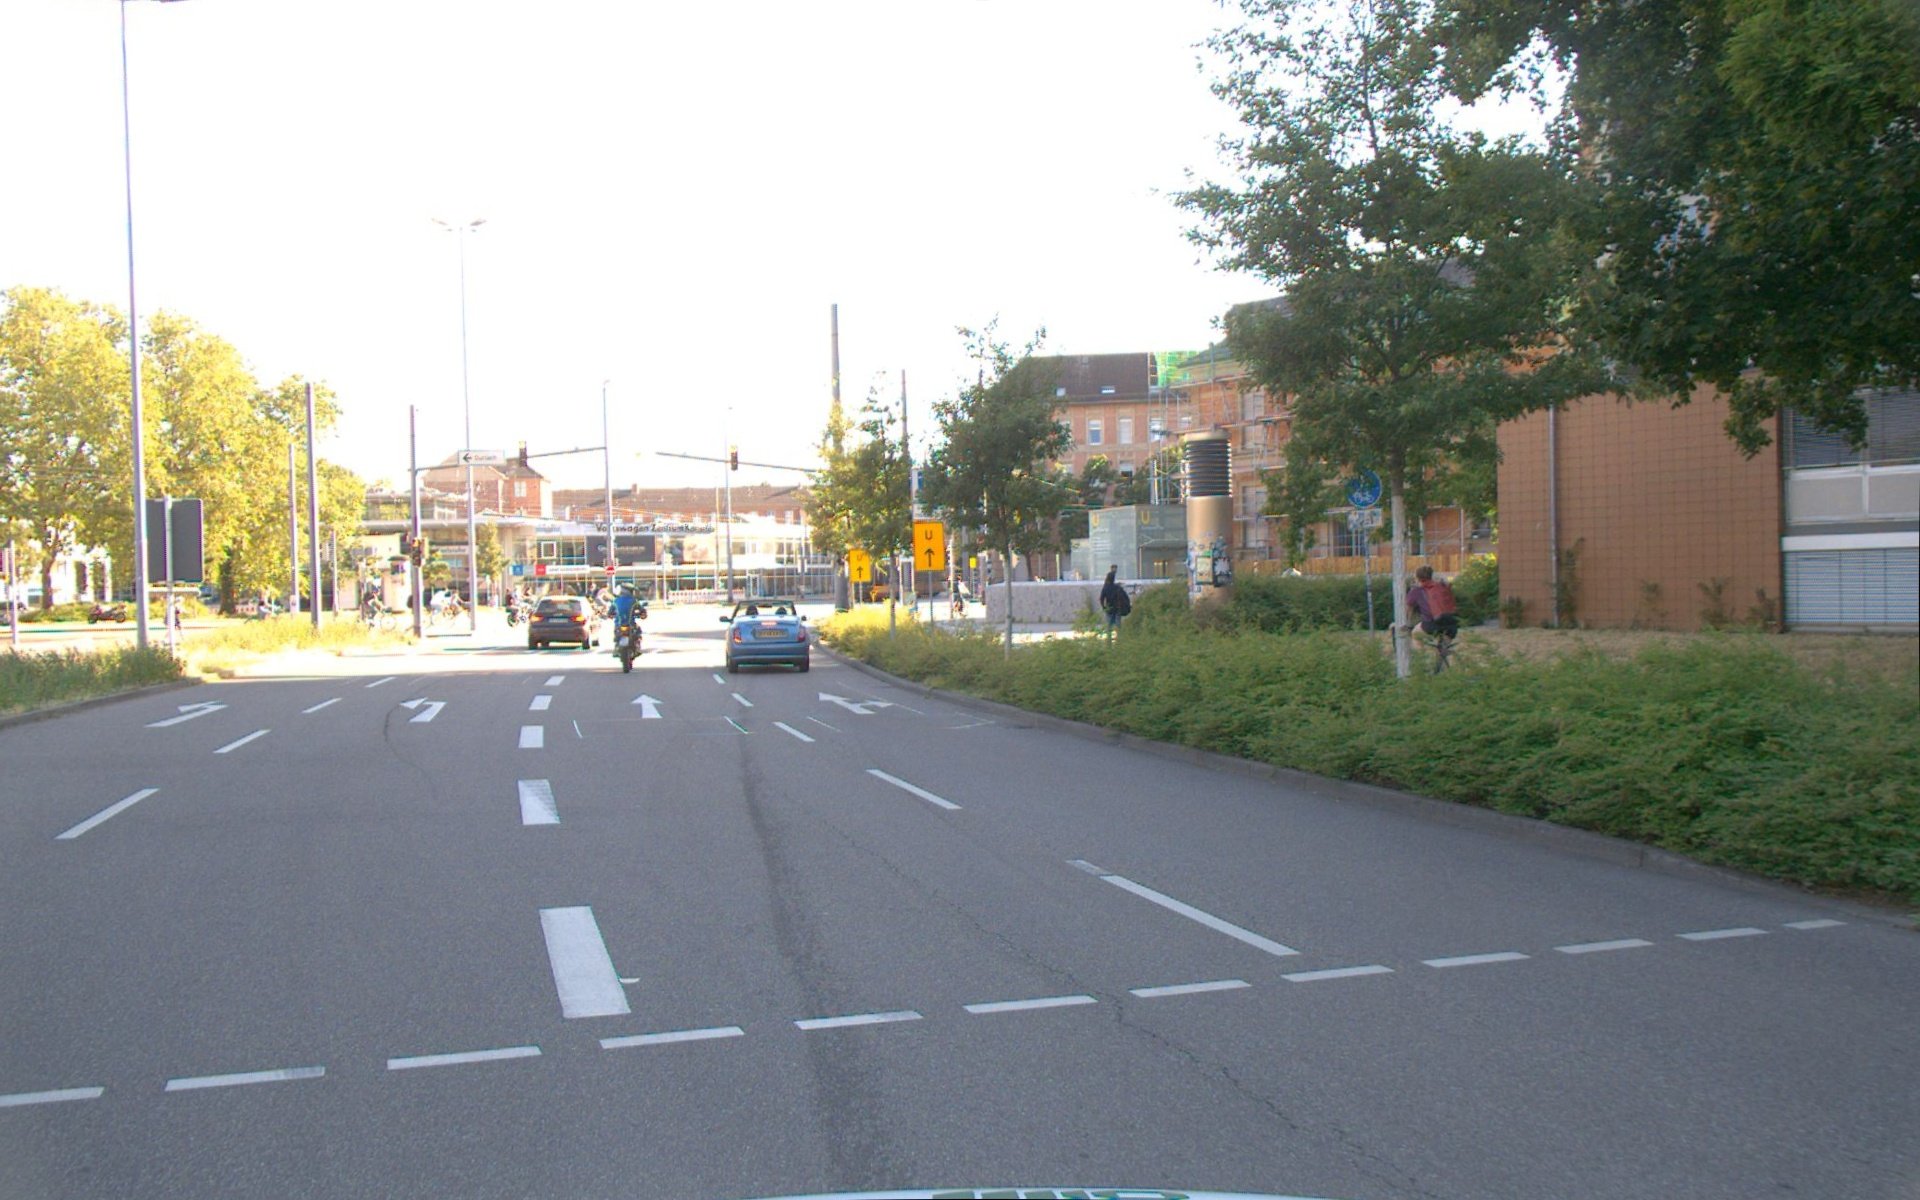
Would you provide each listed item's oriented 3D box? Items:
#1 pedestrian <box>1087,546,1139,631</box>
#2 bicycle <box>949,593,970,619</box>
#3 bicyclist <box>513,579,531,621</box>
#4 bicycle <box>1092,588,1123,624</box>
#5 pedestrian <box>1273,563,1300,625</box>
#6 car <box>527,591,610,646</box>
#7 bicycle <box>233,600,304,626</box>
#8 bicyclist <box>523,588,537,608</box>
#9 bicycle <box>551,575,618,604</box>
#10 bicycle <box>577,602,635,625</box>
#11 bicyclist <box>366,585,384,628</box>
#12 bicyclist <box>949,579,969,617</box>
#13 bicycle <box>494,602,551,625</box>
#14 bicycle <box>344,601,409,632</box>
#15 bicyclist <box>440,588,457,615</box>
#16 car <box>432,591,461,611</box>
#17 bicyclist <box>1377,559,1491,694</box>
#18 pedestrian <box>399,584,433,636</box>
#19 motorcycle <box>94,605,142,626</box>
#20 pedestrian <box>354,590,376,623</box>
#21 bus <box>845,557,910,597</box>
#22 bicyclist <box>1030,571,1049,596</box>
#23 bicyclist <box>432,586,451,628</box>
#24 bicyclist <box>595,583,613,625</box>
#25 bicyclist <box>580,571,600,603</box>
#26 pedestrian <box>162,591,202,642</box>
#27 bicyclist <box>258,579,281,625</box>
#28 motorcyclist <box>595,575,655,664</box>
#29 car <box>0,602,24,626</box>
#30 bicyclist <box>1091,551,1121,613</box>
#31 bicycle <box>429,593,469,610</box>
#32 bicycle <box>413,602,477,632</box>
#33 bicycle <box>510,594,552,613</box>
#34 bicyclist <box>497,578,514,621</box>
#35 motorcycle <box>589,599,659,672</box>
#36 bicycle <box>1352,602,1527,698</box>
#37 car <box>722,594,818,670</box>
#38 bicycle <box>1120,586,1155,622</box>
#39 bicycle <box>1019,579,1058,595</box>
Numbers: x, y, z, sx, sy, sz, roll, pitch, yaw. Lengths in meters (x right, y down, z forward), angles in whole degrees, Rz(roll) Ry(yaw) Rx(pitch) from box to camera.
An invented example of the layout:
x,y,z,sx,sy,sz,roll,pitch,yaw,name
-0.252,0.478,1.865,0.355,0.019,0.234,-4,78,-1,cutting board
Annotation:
x,y,z,sx,sy,sz,roll,pitch,yaw,name
3.161,-0.245,34.199,0.793,1.687,0.787,-3,1,-16,pedestrian
-0.020,0.258,71.925,0.773,1.057,1.963,-3,0,2,bicycle
-18.574,-0.004,70.095,0.640,1.720,0.855,-1,2,-22,bicyclist
4.477,0.179,50.282,0.773,1.057,1.963,-3,0,2,bicycle
9.094,-0.164,46.063,0.708,1.688,0.719,1,0,13,pedestrian
-10.943,0.495,46.437,1.766,1.469,3.973,0,0,-6,car
-26.562,0.485,63.556,2.464,0.889,0.852,-1,2,-28,bicycle
-25.490,-0.120,98.100,0.703,1.162,0.832,-1,2,-23,bicyclist
-23.383,-0.685,103.065,3.936,1.719,1.130,-1,2,-25,bicycle
-14.833,0.561,69.272,2.264,0.921,0.855,-1,2,-22,bicycle
-23.609,0.258,66.734,0.639,1.720,0.856,-1,2,-18,bicyclist
-0.040,-0.088,71.972,0.773,1.621,0.947,-3,0,1,bicyclist
-18.543,0.566,70.121,2.264,0.921,0.855,-1,2,-22,bicycle
-23.533,0.664,66.770,2.454,1.153,0.856,-1,2,-18,bicycle
-30.629,0.067,98.999,0.910,1.586,0.855,-1,2,-20,bicyclist
-44.398,0.050,143.009,1.958,1.561,3.989,-1,2,-12,car
5.131,0.283,17.954,0.708,1.409,1.070,0,-1,-17,bicyclist
-18.150,0.326,55.189,0.687,1.701,0.823,-1,0,44,pedestrian
-46.925,0.848,92.207,2.251,1.072,0.684,-1,2,-20,motorcycle
-34.245,0.360,95.219,0.971,1.847,0.918,0,2,-8,pedestrian
-6.428,-1.892,130.635,2.304,2.933,9.588,0,2,15,bus
5.199,-1.072,108.085,0.910,1.587,0.957,-1,0,-22,bicyclist
-21.841,0.300,69.662,0.641,1.720,0.854,-1,2,-24,bicyclist
-14.903,0.151,69.235,0.640,1.720,0.855,-1,2,-22,bicyclist
-23.089,-0.799,103.197,1.056,1.933,1.114,-1,2,-25,bicyclist
-25.476,0.542,54.184,1.075,1.634,0.696,-1,2,-17,pedestrian
-26.531,0.082,63.566,0.736,1.720,0.852,-1,2,-28,bicyclist
-6.724,0.381,33.248,1.075,1.751,0.935,0,0,-6,motorcyclist
-60.207,0.871,104.035,1.821,1.477,3.973,-1,0,-22,car
4.435,-0.545,50.235,0.770,1.817,0.894,-3,0,1,bicyclist
-30.589,0.091,99.010,2.261,0.996,0.855,-1,2,-19,bicycle
-21.714,0.711,69.731,2.461,1.153,0.854,-1,2,-25,bicycle
-25.442,0.215,98.132,2.265,0.976,0.854,-3,3,-23,bicycle
-19.182,-0.034,69.859,0.574,1.809,0.861,-1,0,-21,bicyclist
-6.714,0.684,33.209,1.075,1.401,2.650,0,0,-5,motorcycle
5.143,0.528,17.913,0.708,0.969,2.238,0,-1,-17,bicycle
-3.879,0.618,34.324,1.765,1.469,3.975,0,0,-3,car
5.433,0.114,50.503,0.613,1.057,1.964,-3,0,19,bicycle
5.124,-0.836,108.052,2.404,1.021,0.956,-2,0,-22,bicycle
